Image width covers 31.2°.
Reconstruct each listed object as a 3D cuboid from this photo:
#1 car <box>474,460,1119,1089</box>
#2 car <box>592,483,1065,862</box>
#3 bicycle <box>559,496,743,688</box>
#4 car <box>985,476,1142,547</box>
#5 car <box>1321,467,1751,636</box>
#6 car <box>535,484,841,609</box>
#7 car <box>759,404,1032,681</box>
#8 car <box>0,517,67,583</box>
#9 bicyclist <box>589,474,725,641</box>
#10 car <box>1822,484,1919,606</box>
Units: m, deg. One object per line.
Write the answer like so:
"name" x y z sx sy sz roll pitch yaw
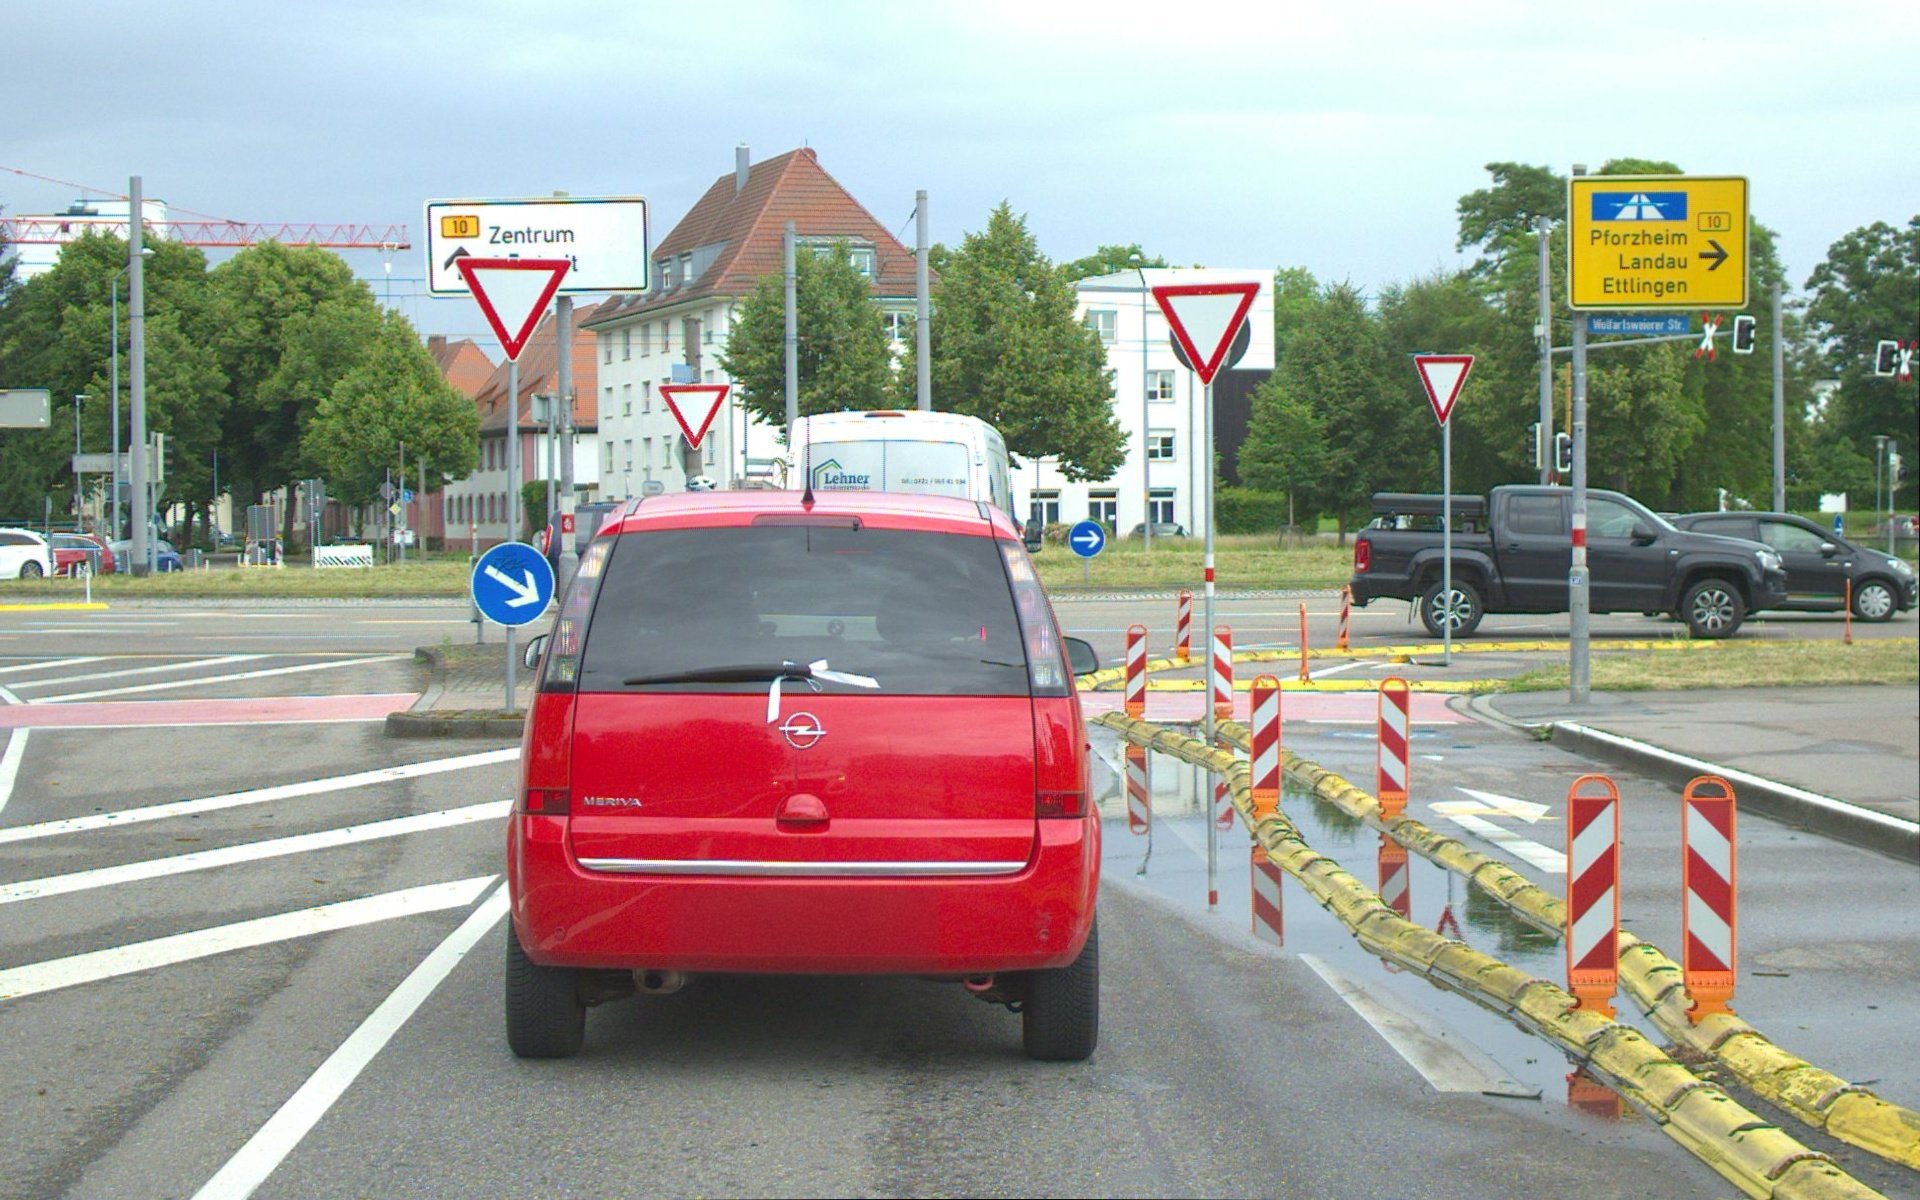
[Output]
"car" -0.467 0.416 10.834 1.673 1.635 3.628 1 1 -1
"car" -0.625 0.262 17.411 2.059 1.642 4.608 1 1 -1
"bicycle" -2.637 -0.076 29.389 1.477 1.606 0.606 -1 1 3
"car" 3.037 -2.568 99.987 4.466 2.007 2.000 -1 1 4
"car" 7.065 -0.593 41.970 5.028 1.965 2.223 0 1 13
"car" -4.070 -0.808 51.858 4.196 1.807 2.077 0 1 10
"car" -0.546 -0.593 34.161 2.195 2.531 4.962 1 1 5
"car" -24.779 -1.239 85.687 1.998 1.629 4.665 0 2 37
"bicyclist" -2.579 -0.366 29.368 1.062 1.396 0.615 -1 1 3
"car" 15.326 -0.823 52.474 3.991 1.842 1.998 1 0 21
